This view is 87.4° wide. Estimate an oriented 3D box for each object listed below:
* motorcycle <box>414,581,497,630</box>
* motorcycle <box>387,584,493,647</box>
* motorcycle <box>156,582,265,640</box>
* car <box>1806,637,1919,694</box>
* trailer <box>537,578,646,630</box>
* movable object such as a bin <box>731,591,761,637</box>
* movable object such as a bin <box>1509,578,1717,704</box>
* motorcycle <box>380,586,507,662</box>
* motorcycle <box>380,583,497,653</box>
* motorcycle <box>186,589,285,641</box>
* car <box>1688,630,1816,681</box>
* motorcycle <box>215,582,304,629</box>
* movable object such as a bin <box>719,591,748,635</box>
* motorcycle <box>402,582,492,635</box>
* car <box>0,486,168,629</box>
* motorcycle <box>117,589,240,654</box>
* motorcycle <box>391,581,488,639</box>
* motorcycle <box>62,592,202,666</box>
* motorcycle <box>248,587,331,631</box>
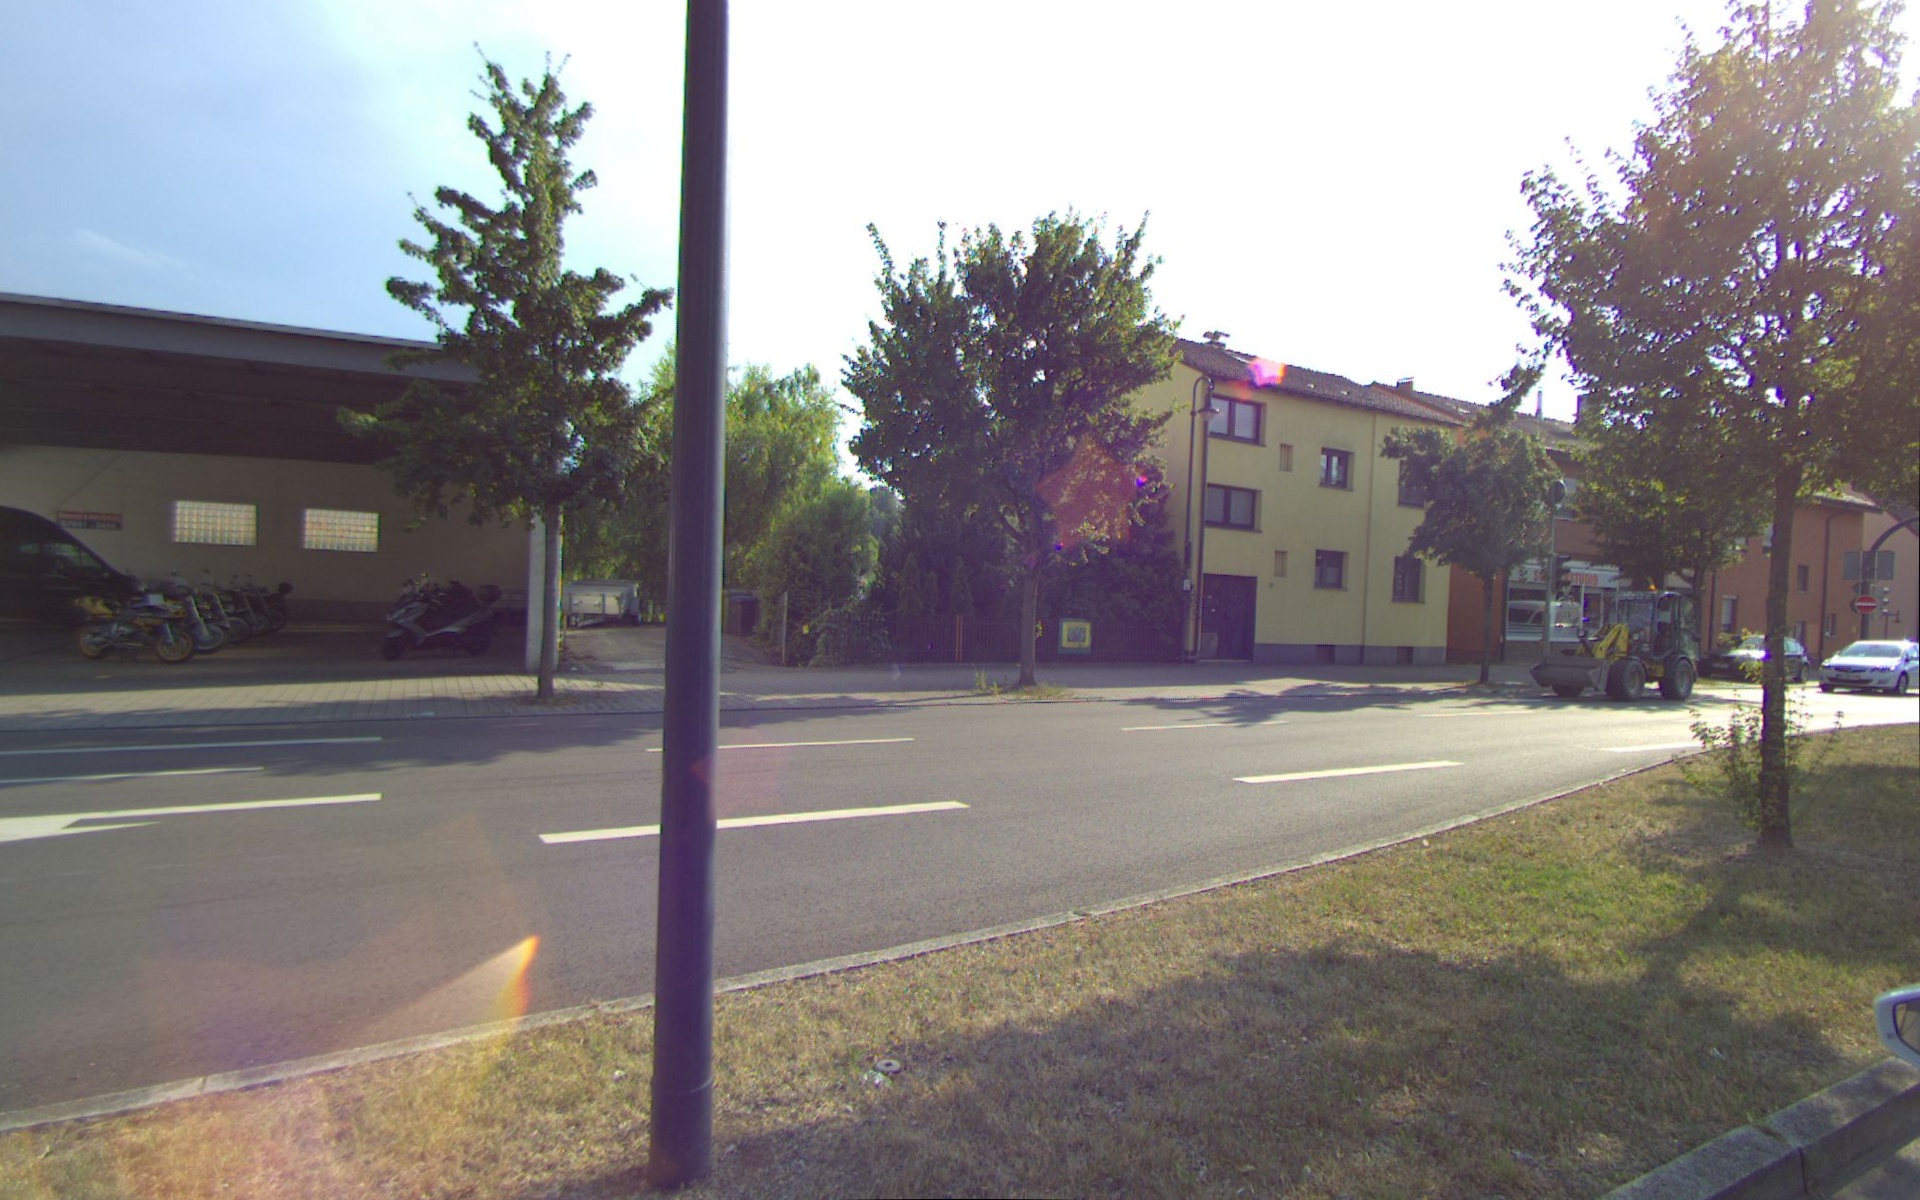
[{"bbox_3d":[-13.944,0.154,27.824,0.516,1.318,2.088,2,1,33],"label":"motorcycle"},{"bbox_3d":[-11.446,0.328,22.174,0.516,1.318,2.088,2,1,33],"label":"motorcycle"},{"bbox_3d":[-15.331,0.211,20.547,2.006,1.114,0.551,1,1,10],"label":"motorcycle"},{"bbox_3d":[25.877,1.822,28.324,4.162,1.433,1.684,2,0,-29],"label":"car"},{"bbox_3d":[-9.054,0.054,24.986,2.131,1.127,3.358,2,1,-14],"label":"trailer"},{"bbox_3d":[-5.186,0.334,24.317,0.582,1.083,0.538,2,0,-27],"label":"movable object such as a bin"},{"bbox_3d":[14.158,0.872,21.698,4.916,2.494,1.546,2,0,-28],"label":"movable object such as a bin"},{"bbox_3d":[-9.440,0.424,18.446,0.516,1.318,2.088,2,1,33],"label":"motorcycle"},{"bbox_3d":[-10.378,0.353,20.064,0.516,1.318,2.088,2,1,33],"label":"motorcycle"},{"bbox_3d":[-16.355,0.331,22.678,2.006,1.114,0.551,1,1,10],"label":"motorcycle"},{"bbox_3d":[25.148,1.744,31.892,3.893,1.433,1.788,2,0,-29],"label":"car"},{"bbox_3d":[-17.383,0.132,24.926,2.006,1.114,0.551,1,1,10],"label":"motorcycle"},{"bbox_3d":[-5.644,0.324,25.027,0.582,1.083,0.538,2,0,-27],"label":"movable object such as a bin"},{"bbox_3d":[-13.181,0.217,25.865,0.516,1.318,2.088,2,1,33],"label":"motorcycle"},{"bbox_3d":[-21.235,-0.914,21.813,2.628,2.999,5.793,2,1,27],"label":"car"},{"bbox_3d":[-14.258,0.377,18.332,2.006,1.114,0.551,1,1,10],"label":"motorcycle"},{"bbox_3d":[-12.475,0.235,24.149,0.516,1.318,2.088,2,1,33],"label":"motorcycle"},{"bbox_3d":[-13.324,0.455,16.169,2.006,1.114,0.551,1,1,10],"label":"motorcycle"},{"bbox_3d":[-17.721,0.235,26.548,2.006,1.114,0.551,1,1,10],"label":"motorcycle"}]
